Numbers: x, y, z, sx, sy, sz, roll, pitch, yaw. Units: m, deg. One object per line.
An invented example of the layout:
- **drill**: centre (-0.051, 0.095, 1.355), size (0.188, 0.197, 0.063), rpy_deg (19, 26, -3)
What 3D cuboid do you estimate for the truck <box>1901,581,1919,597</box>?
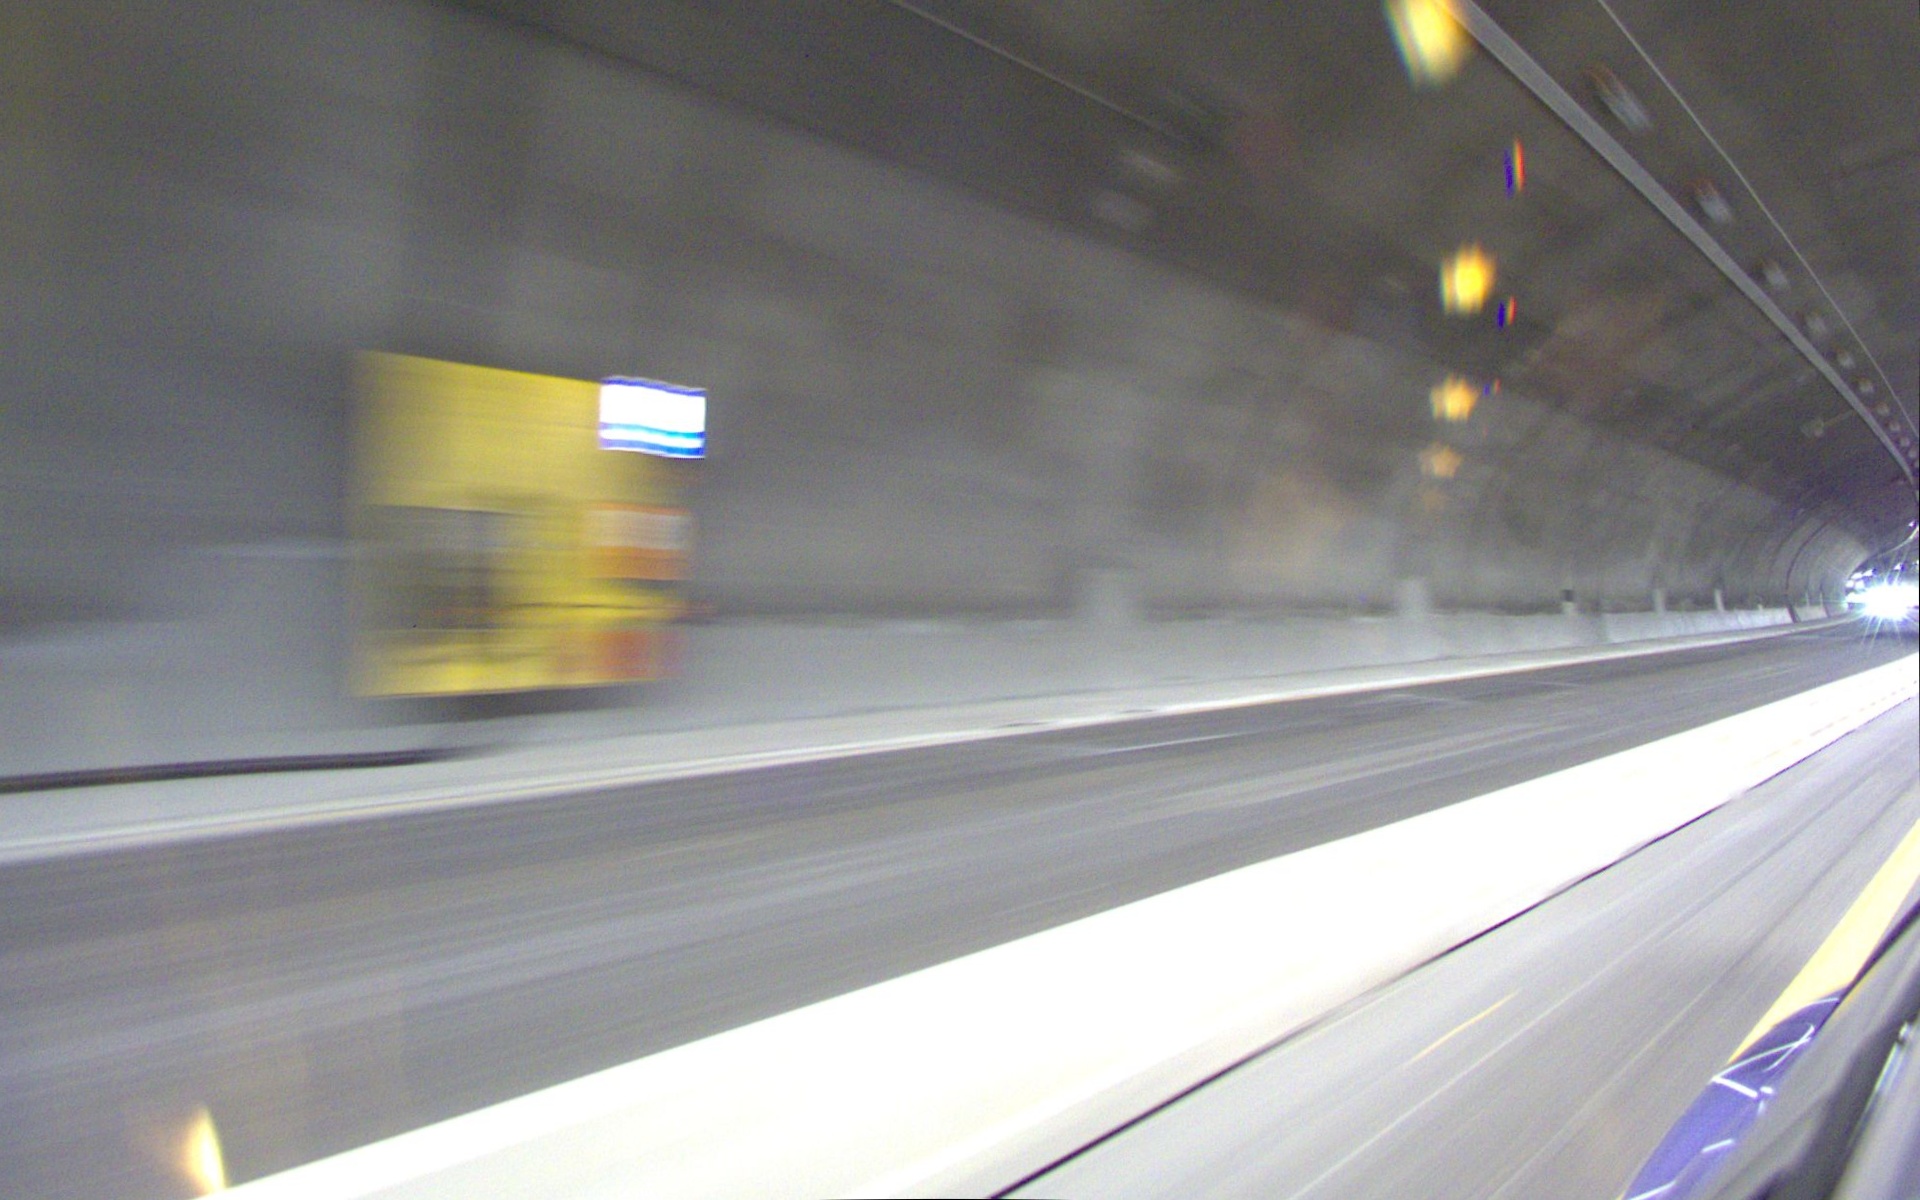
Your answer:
- **truck**: centre (164.290, -1.875, 174.583), size (2.600, 2.774, 6.304), rpy_deg (0, 1, 41)
